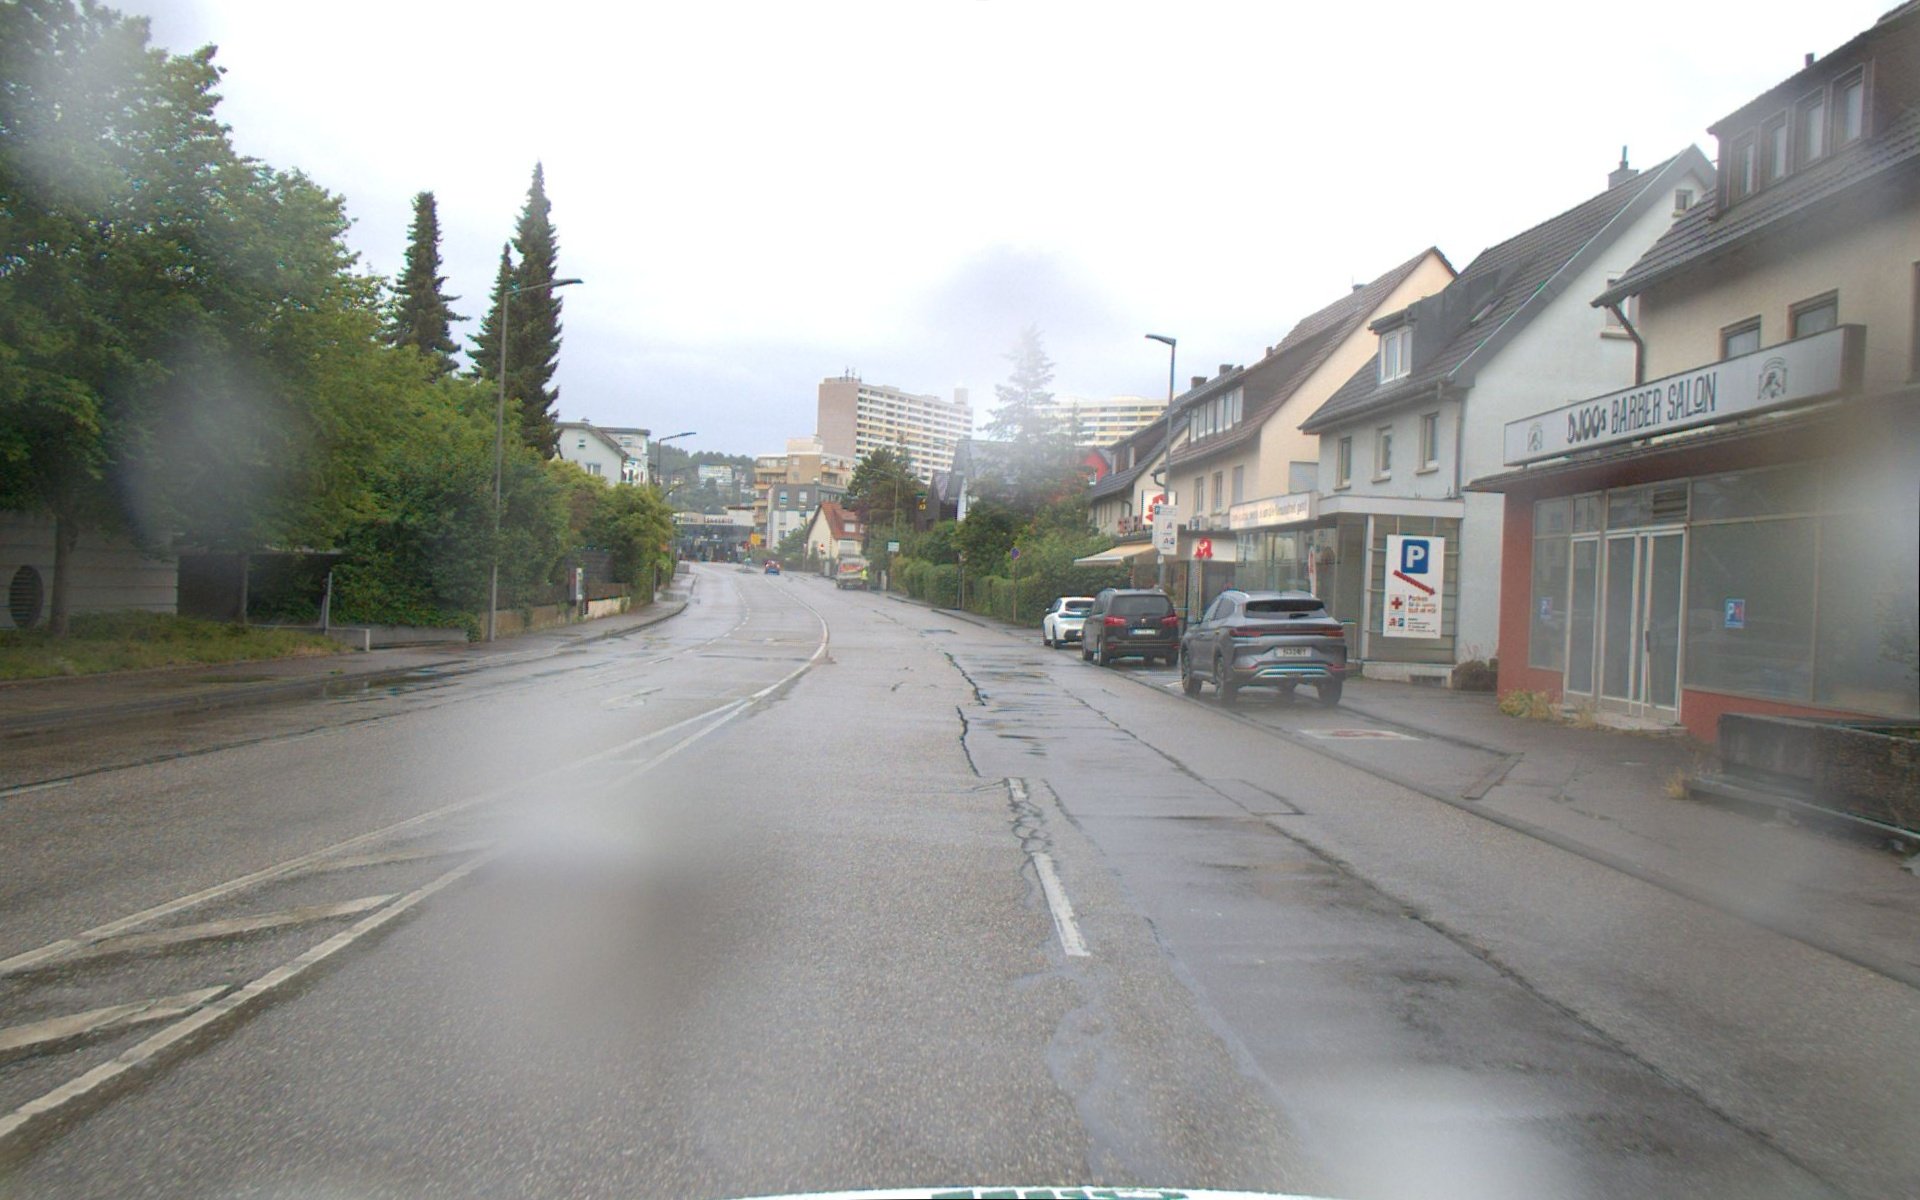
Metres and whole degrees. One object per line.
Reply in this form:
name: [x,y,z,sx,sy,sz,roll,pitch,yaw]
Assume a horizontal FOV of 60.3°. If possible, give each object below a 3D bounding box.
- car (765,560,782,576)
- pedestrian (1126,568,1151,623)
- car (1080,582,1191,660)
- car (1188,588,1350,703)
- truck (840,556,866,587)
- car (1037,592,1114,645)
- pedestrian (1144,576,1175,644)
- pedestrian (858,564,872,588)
car: [-20.719,-3.586,183.687,1.760,1.699,3.994,1,0,-7]
pedestrian: [5.615,-0.134,52.028,0.546,1.708,0.509,2,0,-41]
car: [4.074,0.487,39.230,1.994,1.725,4.961,0,0,-2]
car: [4.825,0.671,26.454,1.836,1.671,4.793,0,0,2]
truck: [-8.381,-2.245,129.432,1.954,2.343,3.997,2,1,-5]
car: [3.399,0.528,49.208,1.779,1.473,4.201,0,1,-3]
pedestrian: [5.777,0.295,47.885,0.611,1.924,0.646,2,0,32]
pedestrian: [-7.164,-1.815,124.820,0.813,1.828,0.794,1,1,-26]
